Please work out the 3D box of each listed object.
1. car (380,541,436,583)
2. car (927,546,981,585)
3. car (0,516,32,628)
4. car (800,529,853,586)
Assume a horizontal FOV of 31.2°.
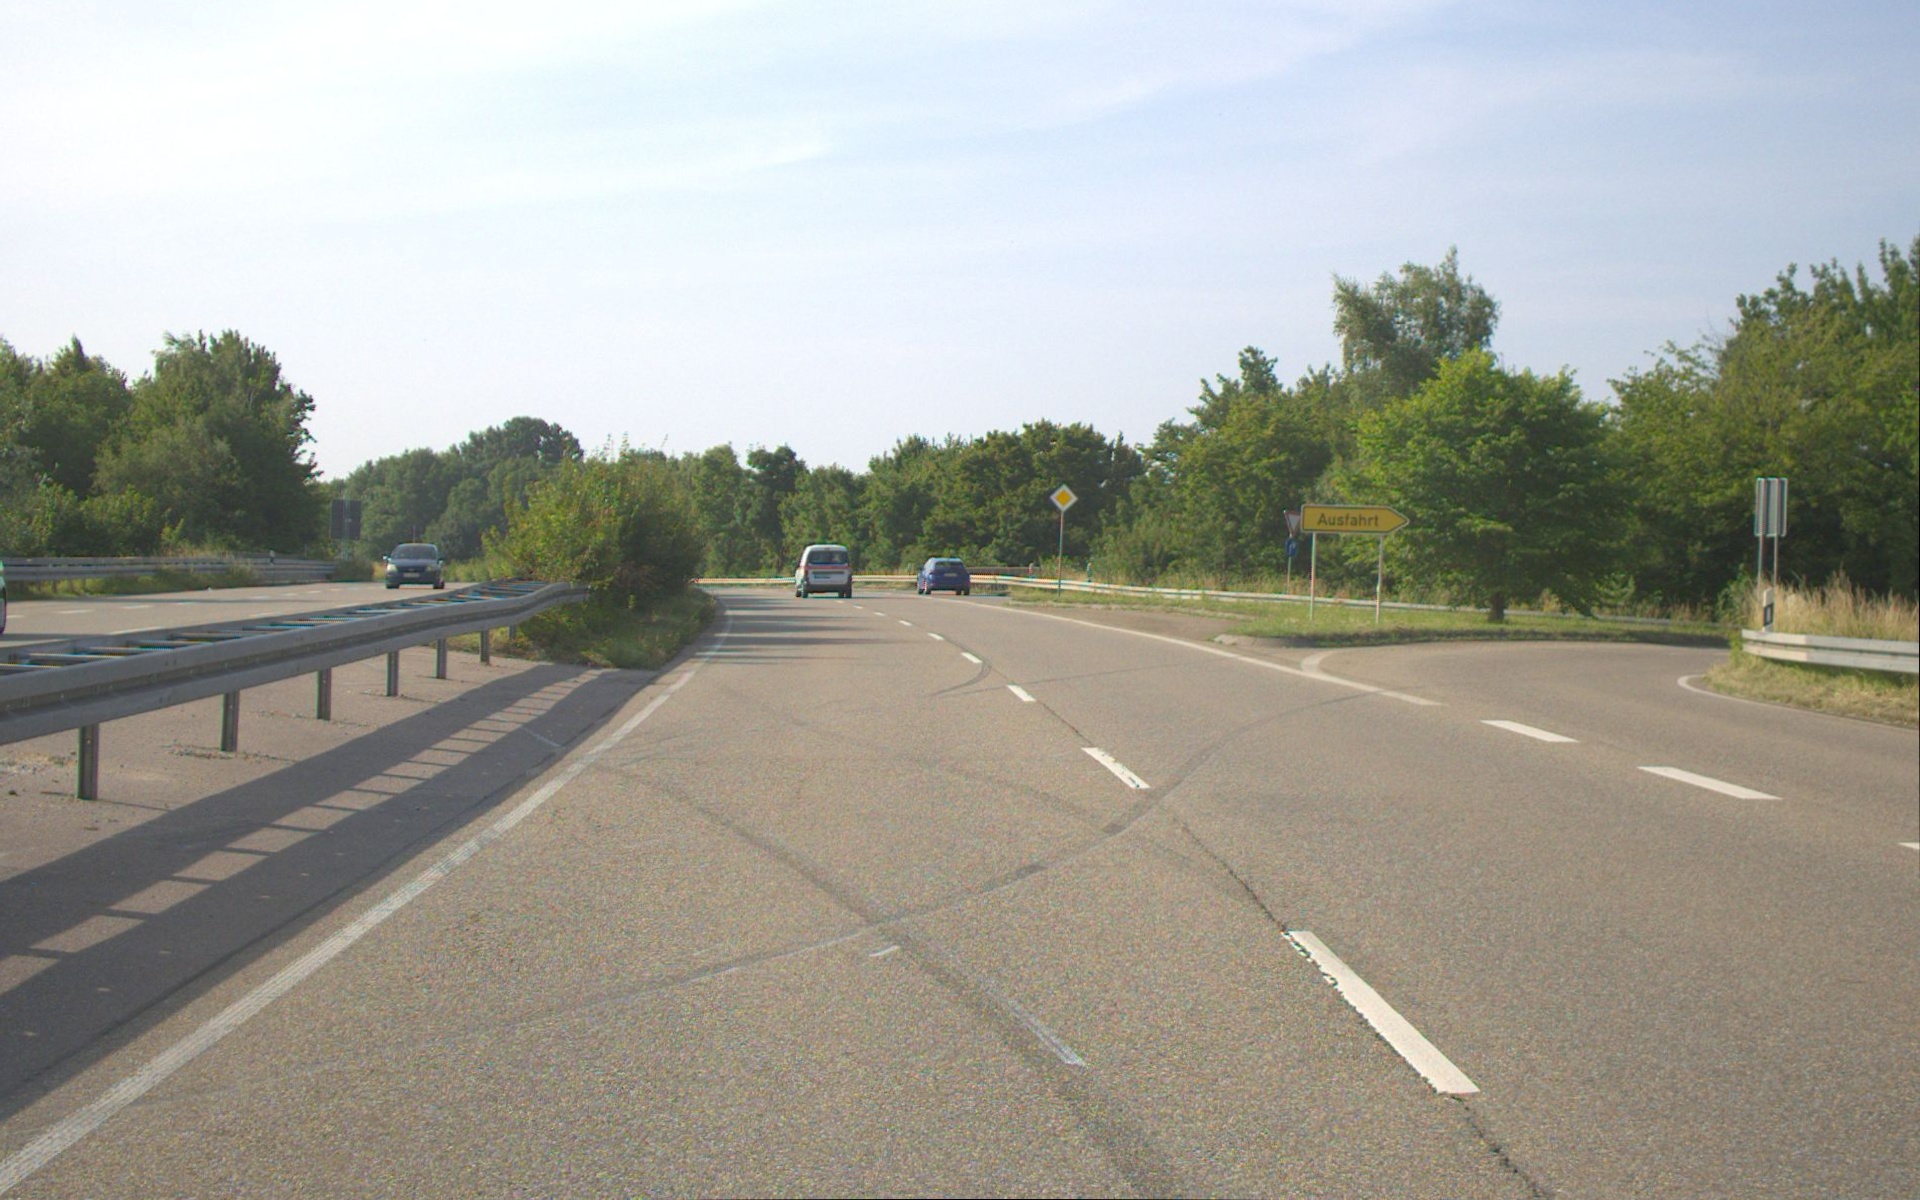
[{"bbox_3d":[-17.527,-1.198,109.200,1.488,1.293,3.268,1,0,-4],"label":"car"},{"bbox_3d":[-0.248,-1.367,136.253,1.778,1.447,4.000,1,-1,-5],"label":"car"},{"bbox_3d":[-13.180,-0.355,43.889,1.639,1.415,4.001,2,2,-1],"label":"car"},{"bbox_3d":[-4.571,-1.440,117.857,1.765,1.875,4.000,1,0,-2],"label":"car"}]
